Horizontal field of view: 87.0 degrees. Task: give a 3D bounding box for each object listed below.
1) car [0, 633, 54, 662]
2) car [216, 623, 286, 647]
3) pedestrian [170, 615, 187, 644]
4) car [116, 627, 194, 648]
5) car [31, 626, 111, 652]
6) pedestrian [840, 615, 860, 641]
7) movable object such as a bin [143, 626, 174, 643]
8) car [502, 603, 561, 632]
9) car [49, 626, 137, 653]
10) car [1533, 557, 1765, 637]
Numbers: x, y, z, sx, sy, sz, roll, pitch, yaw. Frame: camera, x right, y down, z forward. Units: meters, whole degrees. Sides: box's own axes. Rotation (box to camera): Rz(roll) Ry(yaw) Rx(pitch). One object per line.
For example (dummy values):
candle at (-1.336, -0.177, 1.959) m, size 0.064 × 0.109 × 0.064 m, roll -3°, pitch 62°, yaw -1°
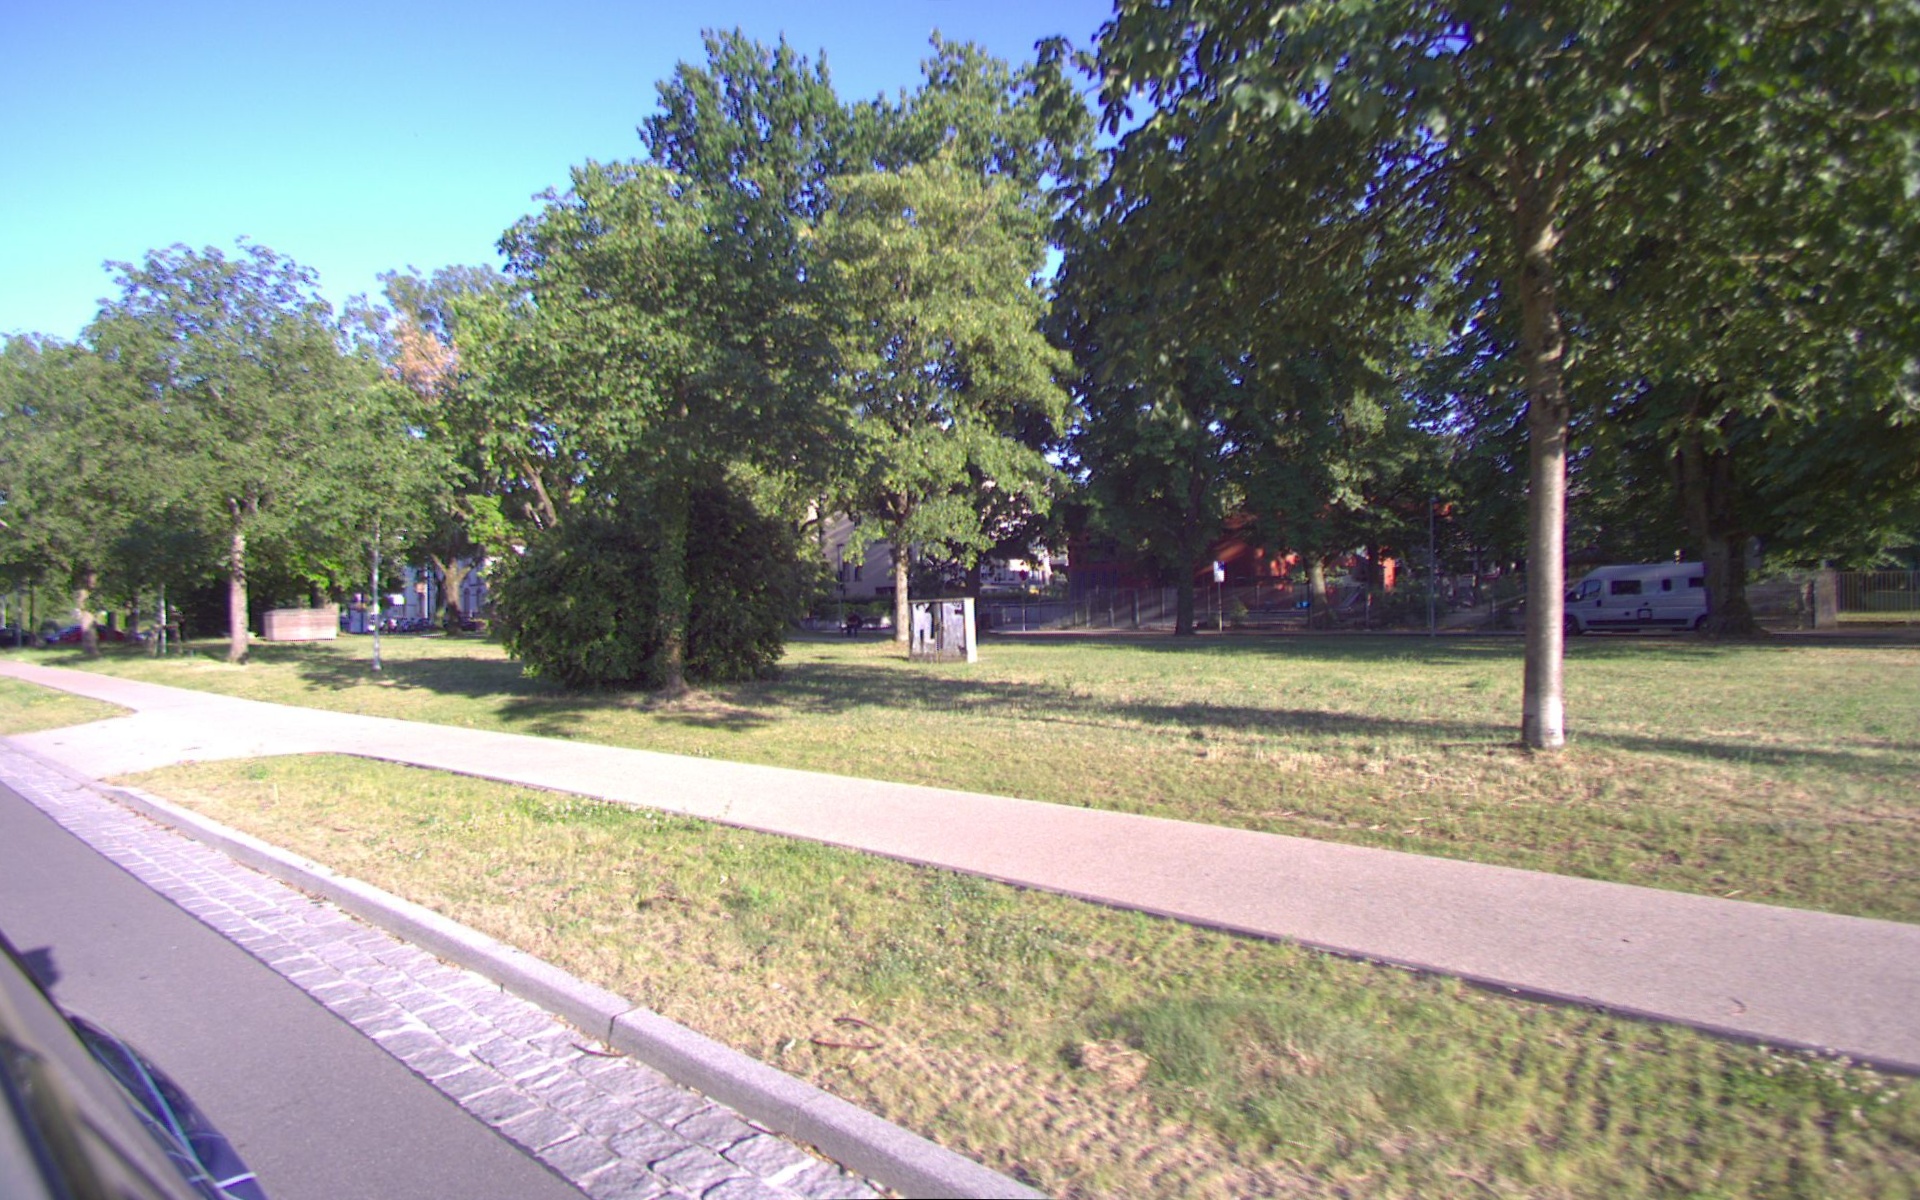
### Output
car at (-57.763, 2.857, 61.263) m, size 1.874 × 1.586 × 3.979 m, roll 0°, pitch 0°, yaw 16°
car at (-52.554, 2.603, 75.094) m, size 1.877 × 1.586 × 3.973 m, roll 0°, pitch 0°, yaw 20°
pedestrian at (-47.160, 1.792, 61.099) m, size 0.672 × 1.708 × 0.655 m, roll -2°, pitch 0°, yaw 42°
car at (-59.404, 2.736, 74.755) m, size 1.825 × 1.411 × 4.250 m, roll -1°, pitch -1°, yaw 18°
car at (-61.102, 2.642, 69.629) m, size 1.824 × 1.643 × 3.826 m, roll -1°, pitch -1°, yaw 17°
pedestrian at (-4.314, 1.104, 39.784) m, size 0.541 × 0.994 × 0.611 m, roll 0°, pitch -1°, yaw -39°
movable object such as a bin at (-47.841, 2.037, 60.398) m, size 0.950 × 0.997 × 1.314 m, roll -1°, pitch -1°, yaw 44°
car at (-34.260, 1.414, 80.818) m, size 2.638 × 2.130 × 4.972 m, roll -1°, pitch 0°, yaw -44°
car at (-56.216, 2.524, 65.680) m, size 1.874 × 1.586 × 3.979 m, roll 0°, pitch 0°, yaw 16°
car at (23.356, -0.051, 34.467) m, size 6.312 × 2.482 × 2.693 m, roll -1°, pitch -1°, yaw 40°
